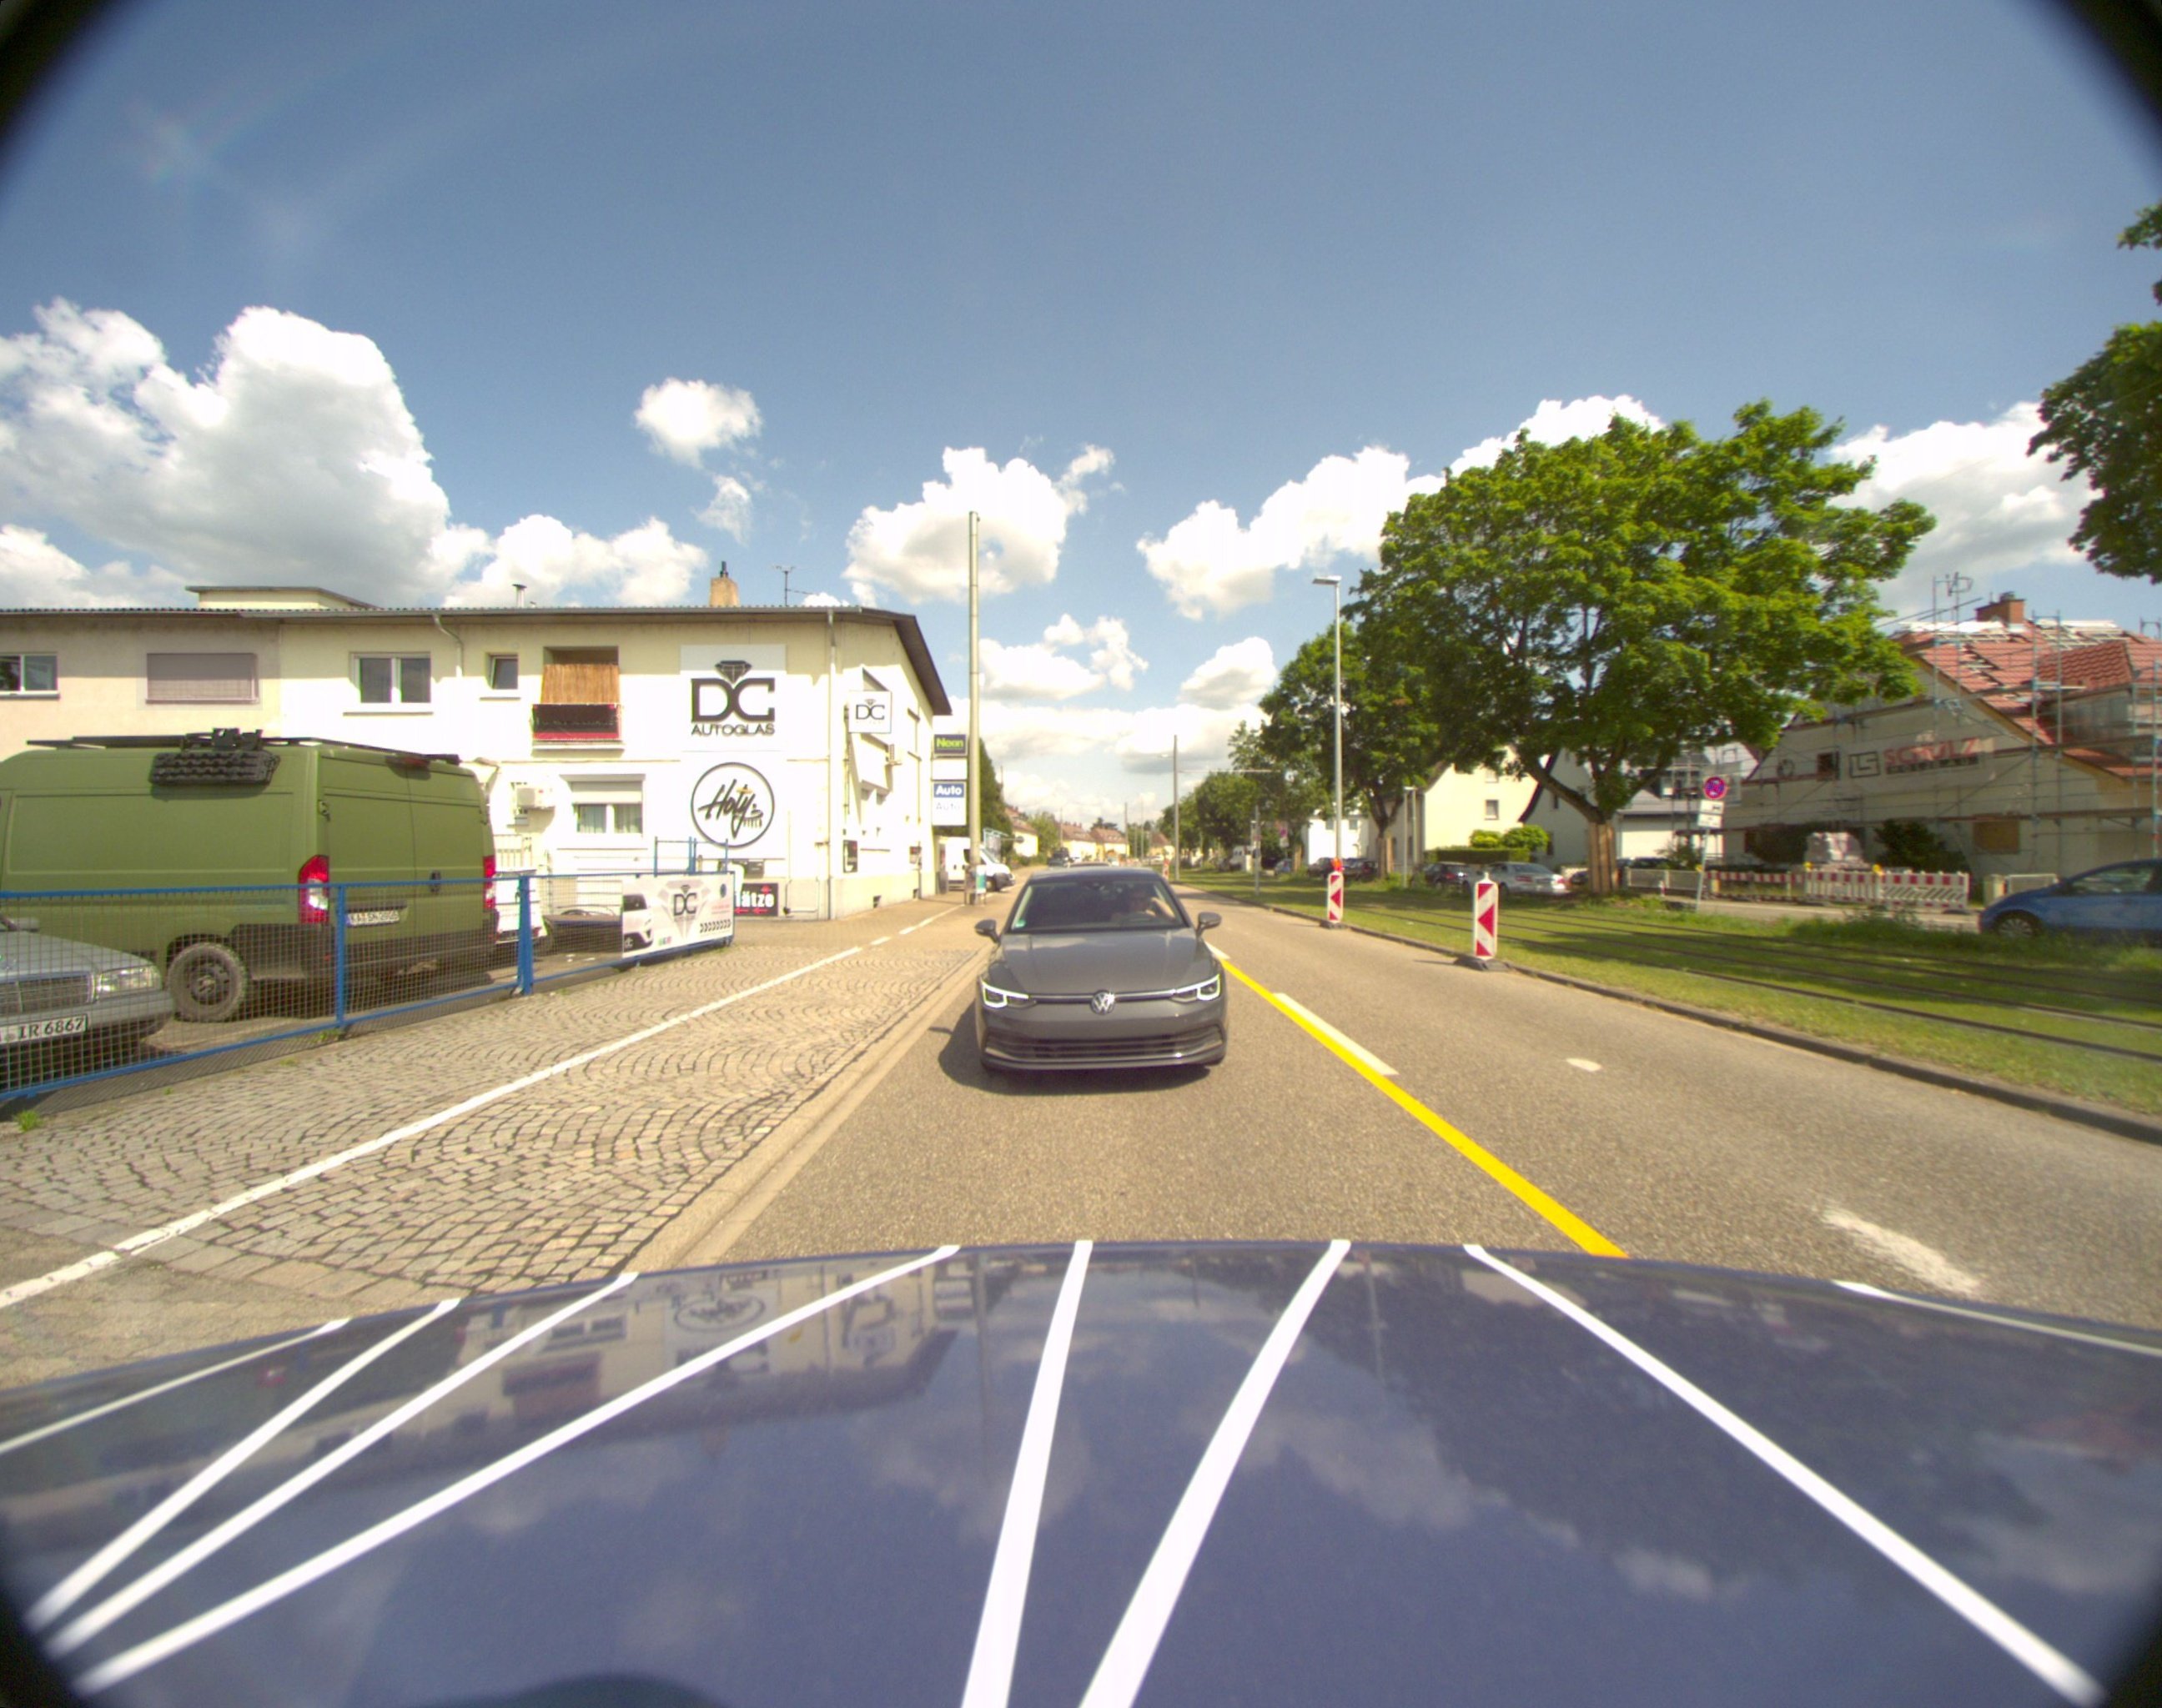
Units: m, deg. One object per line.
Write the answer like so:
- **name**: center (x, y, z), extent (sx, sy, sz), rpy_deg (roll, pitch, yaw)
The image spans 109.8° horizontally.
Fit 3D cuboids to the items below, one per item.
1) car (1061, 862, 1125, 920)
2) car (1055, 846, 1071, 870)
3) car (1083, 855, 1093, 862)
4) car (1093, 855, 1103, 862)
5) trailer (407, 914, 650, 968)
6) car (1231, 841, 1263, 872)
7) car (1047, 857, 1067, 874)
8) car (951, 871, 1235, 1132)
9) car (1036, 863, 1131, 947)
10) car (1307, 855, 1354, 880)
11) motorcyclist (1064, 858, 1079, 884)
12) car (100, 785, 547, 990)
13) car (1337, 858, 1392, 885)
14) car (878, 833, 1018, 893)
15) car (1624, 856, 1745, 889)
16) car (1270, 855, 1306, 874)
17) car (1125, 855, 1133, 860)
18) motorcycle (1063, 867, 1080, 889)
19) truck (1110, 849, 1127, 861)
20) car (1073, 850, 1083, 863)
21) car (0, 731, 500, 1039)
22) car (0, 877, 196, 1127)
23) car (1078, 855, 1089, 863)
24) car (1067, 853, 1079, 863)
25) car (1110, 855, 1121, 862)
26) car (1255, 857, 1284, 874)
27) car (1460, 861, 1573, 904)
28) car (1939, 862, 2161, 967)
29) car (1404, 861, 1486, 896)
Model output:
- **car**: center (0.345, 1.010, 22.261), extent (1.702, 1.477, 4.000), rpy_deg (0, 0, 1)
- **car**: center (-1.911, 0.448, 82.438), extent (1.702, 2.510, 5.144), rpy_deg (0, 0, 0)
- **car**: center (1.450, 0.903, 155.837), extent (1.701, 1.574, 4.002), rpy_deg (0, 0, 7)
- **car**: center (3.854, 0.909, 173.596), extent (1.700, 1.574, 4.004), rpy_deg (0, 0, 12)
- **trailer**: center (-8.368, 1.306, 11.659), extent (2.733, 0.662, 1.329), rpy_deg (0, 0, -1)
- **car**: center (16.819, 0.272, 77.270), extent (2.136, 3.019, 5.084), rpy_deg (-1, -1, 1)
- **car**: center (-2.184, 1.046, 70.754), extent (1.702, 1.574, 4.000), rpy_deg (0, 0, 1)
- **car**: center (0.098, 0.935, 6.563), extent (1.702, 1.477, 4.000), rpy_deg (0, 0, 1)
- **car**: center (0.077, 0.940, 15.681), extent (1.702, 1.477, 4.000), rpy_deg (0, 0, 1)
- **car**: center (16.554, 0.897, 50.660), extent (1.702, 1.562, 4.407), rpy_deg (-1, -1, 1)
- **motorcyclist**: center (-0.466, 0.856, 38.317), extent (0.658, 1.284, 0.780), rpy_deg (0, 0, 5)
- **car**: center (-9.502, 0.402, 9.741), extent (4.207, 2.392, 1.586), rpy_deg (0, 0, 2)
- **car**: center (16.771, 1.034, 45.154), extent (1.702, 1.477, 4.407), rpy_deg (-1, -1, 1)
- **car**: center (-5.881, 0.390, 34.052), extent (5.836, 2.449, 2.092), rpy_deg (2, 0, 1)
- **car**: center (28.906, 0.889, 36.509), extent (4.402, 1.477, 1.704), rpy_deg (-1, -1, 1)
- **car**: center (16.645, 0.874, 61.280), extent (1.702, 1.477, 4.407), rpy_deg (-1, -1, 1)
- **car**: center (13.831, 0.941, 218.681), extent (1.700, 1.574, 4.005), rpy_deg (0, 0, 16)
- **motorcycle**: center (-0.468, 1.176, 38.280), extent (0.658, 1.040, 2.112), rpy_deg (0, 0, 5)
- **truck**: center (9.921, 0.139, 201.050), extent (2.710, 3.119, 8.124), rpy_deg (0, 0, 15)
- **car**: center (-0.489, 0.418, 136.209), extent (1.701, 2.233, 4.947), rpy_deg (0, 0, 2)
- **car**: center (-8.727, 0.271, 7.609), extent (4.207, 2.627, 2.113), rpy_deg (0, 0, 2)
- **car**: center (-8.460, 0.888, 4.774), extent (4.282, 1.444, 1.713), rpy_deg (0, 0, 8)
- **car**: center (0.491, 0.900, 146.706), extent (1.701, 1.574, 4.002), rpy_deg (0, 0, 6)
- **car**: center (-1.310, 0.670, 123.039), extent (1.701, 1.574, 4.001), rpy_deg (0, 0, 3)
- **car**: center (6.990, 0.949, 155.015), extent (2.117, 1.477, 4.407), rpy_deg (0, 0, 5)
- **car**: center (17.648, 1.076, 71.325), extent (1.702, 1.477, 4.407), rpy_deg (-1, -1, 1)
- **car**: center (16.420, 1.065, 28.947), extent (1.788, 1.477, 4.523), rpy_deg (-1, -1, 2)
- **car**: center (16.202, 0.866, 11.398), extent (1.702, 1.477, 4.407), rpy_deg (-1, -1, 1)
- **car**: center (16.625, 1.119, 34.936), extent (1.702, 1.477, 4.407), rpy_deg (-1, -1, 1)
